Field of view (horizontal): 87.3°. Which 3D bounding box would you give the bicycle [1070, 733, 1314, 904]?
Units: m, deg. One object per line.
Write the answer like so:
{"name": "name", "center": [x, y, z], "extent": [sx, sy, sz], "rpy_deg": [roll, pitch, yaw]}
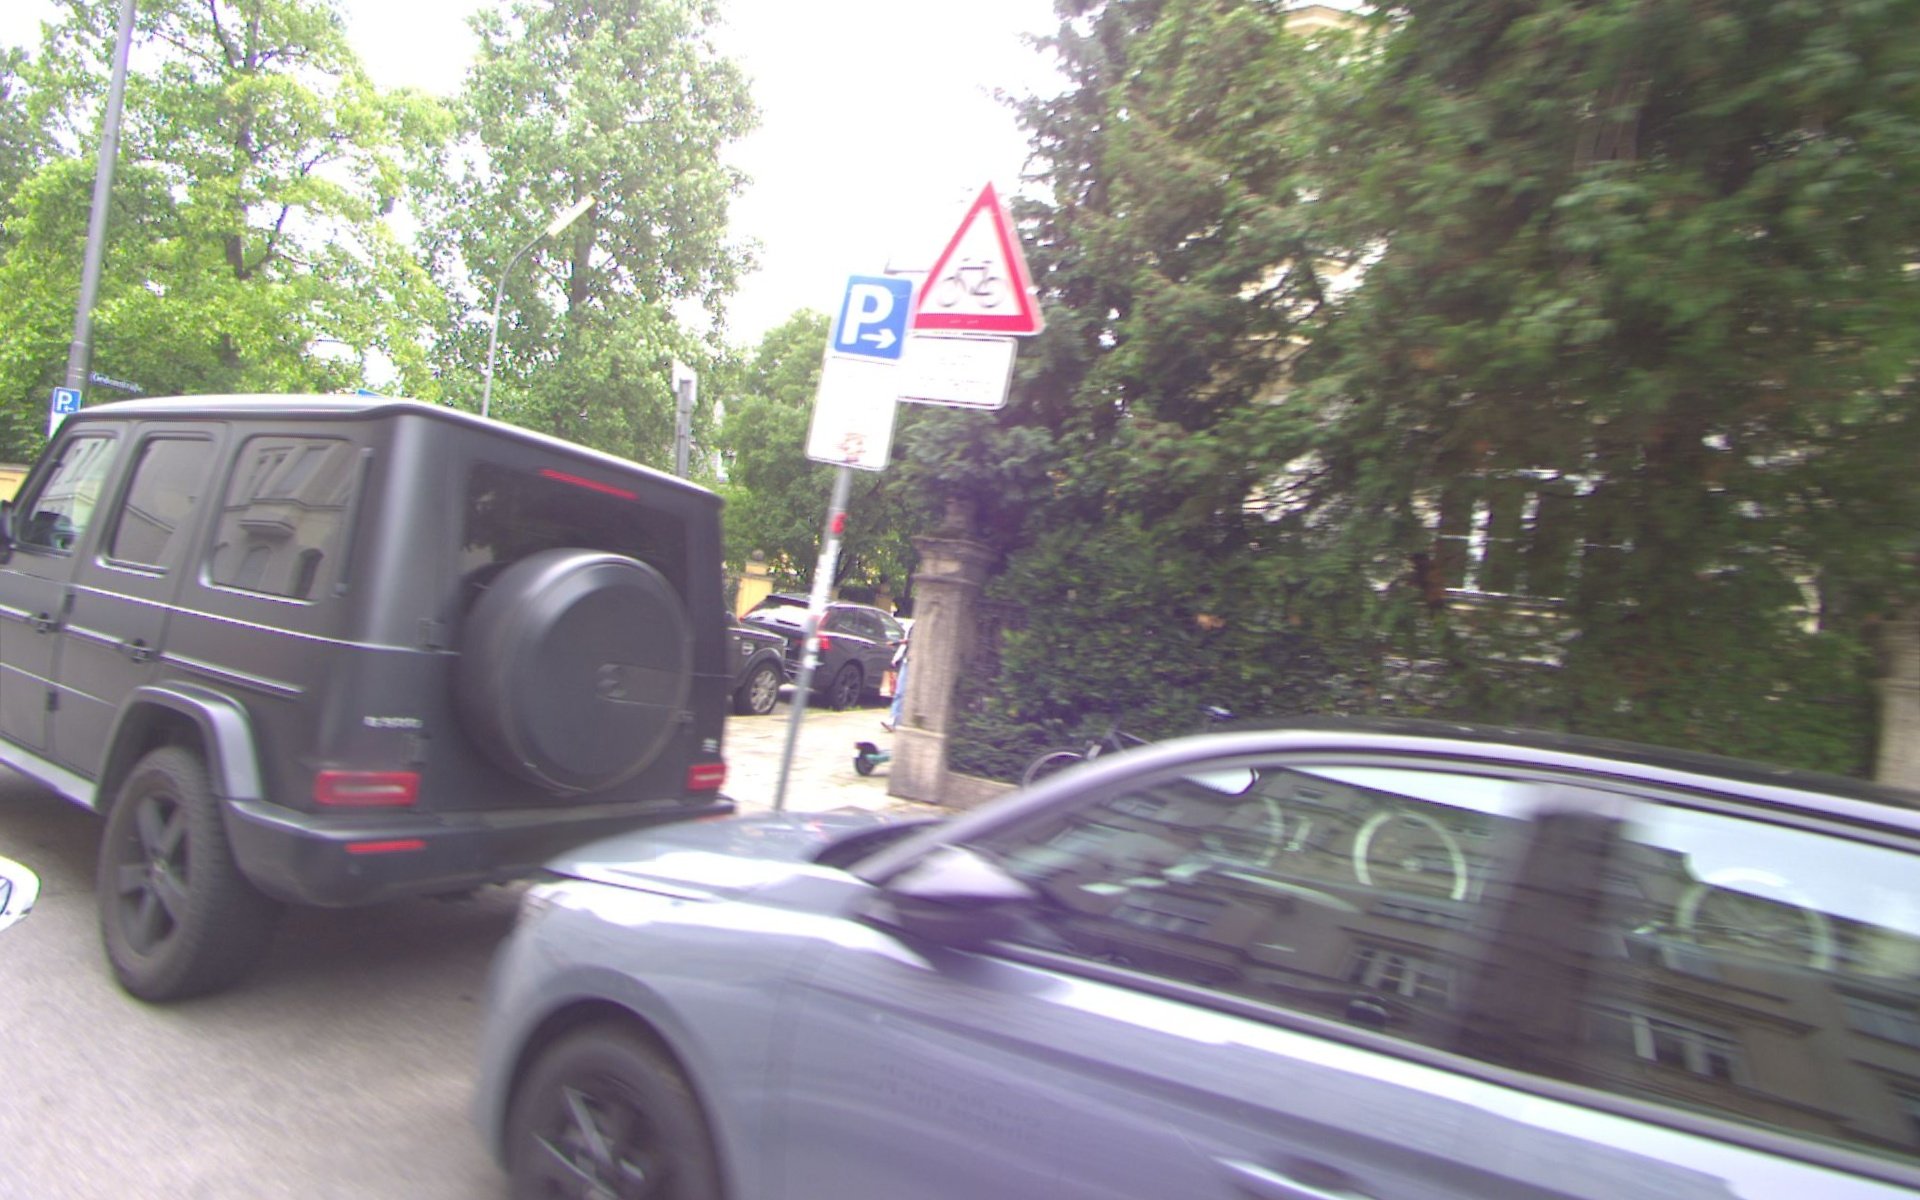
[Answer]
{"name": "bicycle", "center": [1.441, 1.330, 6.338], "extent": [1.332, 0.743, 0.513], "rpy_deg": [7, 0, 33]}

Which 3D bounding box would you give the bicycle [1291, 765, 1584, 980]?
{"name": "bicycle", "center": [2.608, 1.440, 5.540], "extent": [1.332, 0.791, 0.513], "rpy_deg": [7, 0, 33]}

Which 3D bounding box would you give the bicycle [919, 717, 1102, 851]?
{"name": "bicycle", "center": [0.347, 1.261, 7.068], "extent": [1.105, 0.691, 0.513], "rpy_deg": [7, 0, 33]}

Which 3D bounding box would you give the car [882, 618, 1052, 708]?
{"name": "car", "center": [0.270, 1.342, 21.507], "extent": [1.929, 1.458, 4.109], "rpy_deg": [9, 0, 25]}

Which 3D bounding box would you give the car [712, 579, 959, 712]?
{"name": "car", "center": [-1.886, 0.775, 16.731], "extent": [1.929, 1.670, 4.247], "rpy_deg": [9, 0, 25]}

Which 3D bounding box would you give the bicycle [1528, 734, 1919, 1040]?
{"name": "bicycle", "center": [3.602, 1.313, 4.826], "extent": [1.328, 1.108, 0.515], "rpy_deg": [7, 0, 14]}

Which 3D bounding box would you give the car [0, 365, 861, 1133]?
{"name": "car", "center": [-2.985, 0.215, 4.608], "extent": [4.588, 1.977, 1.955], "rpy_deg": [8, -1, 32]}

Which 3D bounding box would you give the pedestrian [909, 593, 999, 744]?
{"name": "pedestrian", "center": [-0.067, 0.814, 12.268], "extent": [0.684, 1.725, 0.735], "rpy_deg": [6, 2, 26]}

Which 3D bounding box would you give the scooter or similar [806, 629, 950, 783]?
{"name": "scooter or similar", "center": [-0.678, 0.900, 8.709], "extent": [0.365, 1.204, 1.348], "rpy_deg": [6, 0, 34]}

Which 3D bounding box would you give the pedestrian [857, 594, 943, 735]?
{"name": "pedestrian", "center": [-0.746, 0.792, 12.618], "extent": [0.676, 1.649, 0.708], "rpy_deg": [6, 1, 24]}

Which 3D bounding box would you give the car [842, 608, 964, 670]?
{"name": "car", "center": [-1.718, 1.316, 32.337], "extent": [1.964, 1.640, 4.608], "rpy_deg": [6, -1, 23]}

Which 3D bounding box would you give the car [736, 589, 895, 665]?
{"name": "car", "center": [-3.765, 0.799, 27.098], "extent": [1.964, 1.640, 4.607], "rpy_deg": [6, -1, 24]}

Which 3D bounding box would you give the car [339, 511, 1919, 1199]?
{"name": "car", "center": [0.679, 0.836, 2.094], "extent": [3.569, 1.535, 1.728], "rpy_deg": [6, -3, 30]}

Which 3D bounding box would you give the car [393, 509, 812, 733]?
{"name": "car", "center": [-3.941, 0.309, 12.041], "extent": [1.870, 1.974, 4.540], "rpy_deg": [9, 0, 25]}
